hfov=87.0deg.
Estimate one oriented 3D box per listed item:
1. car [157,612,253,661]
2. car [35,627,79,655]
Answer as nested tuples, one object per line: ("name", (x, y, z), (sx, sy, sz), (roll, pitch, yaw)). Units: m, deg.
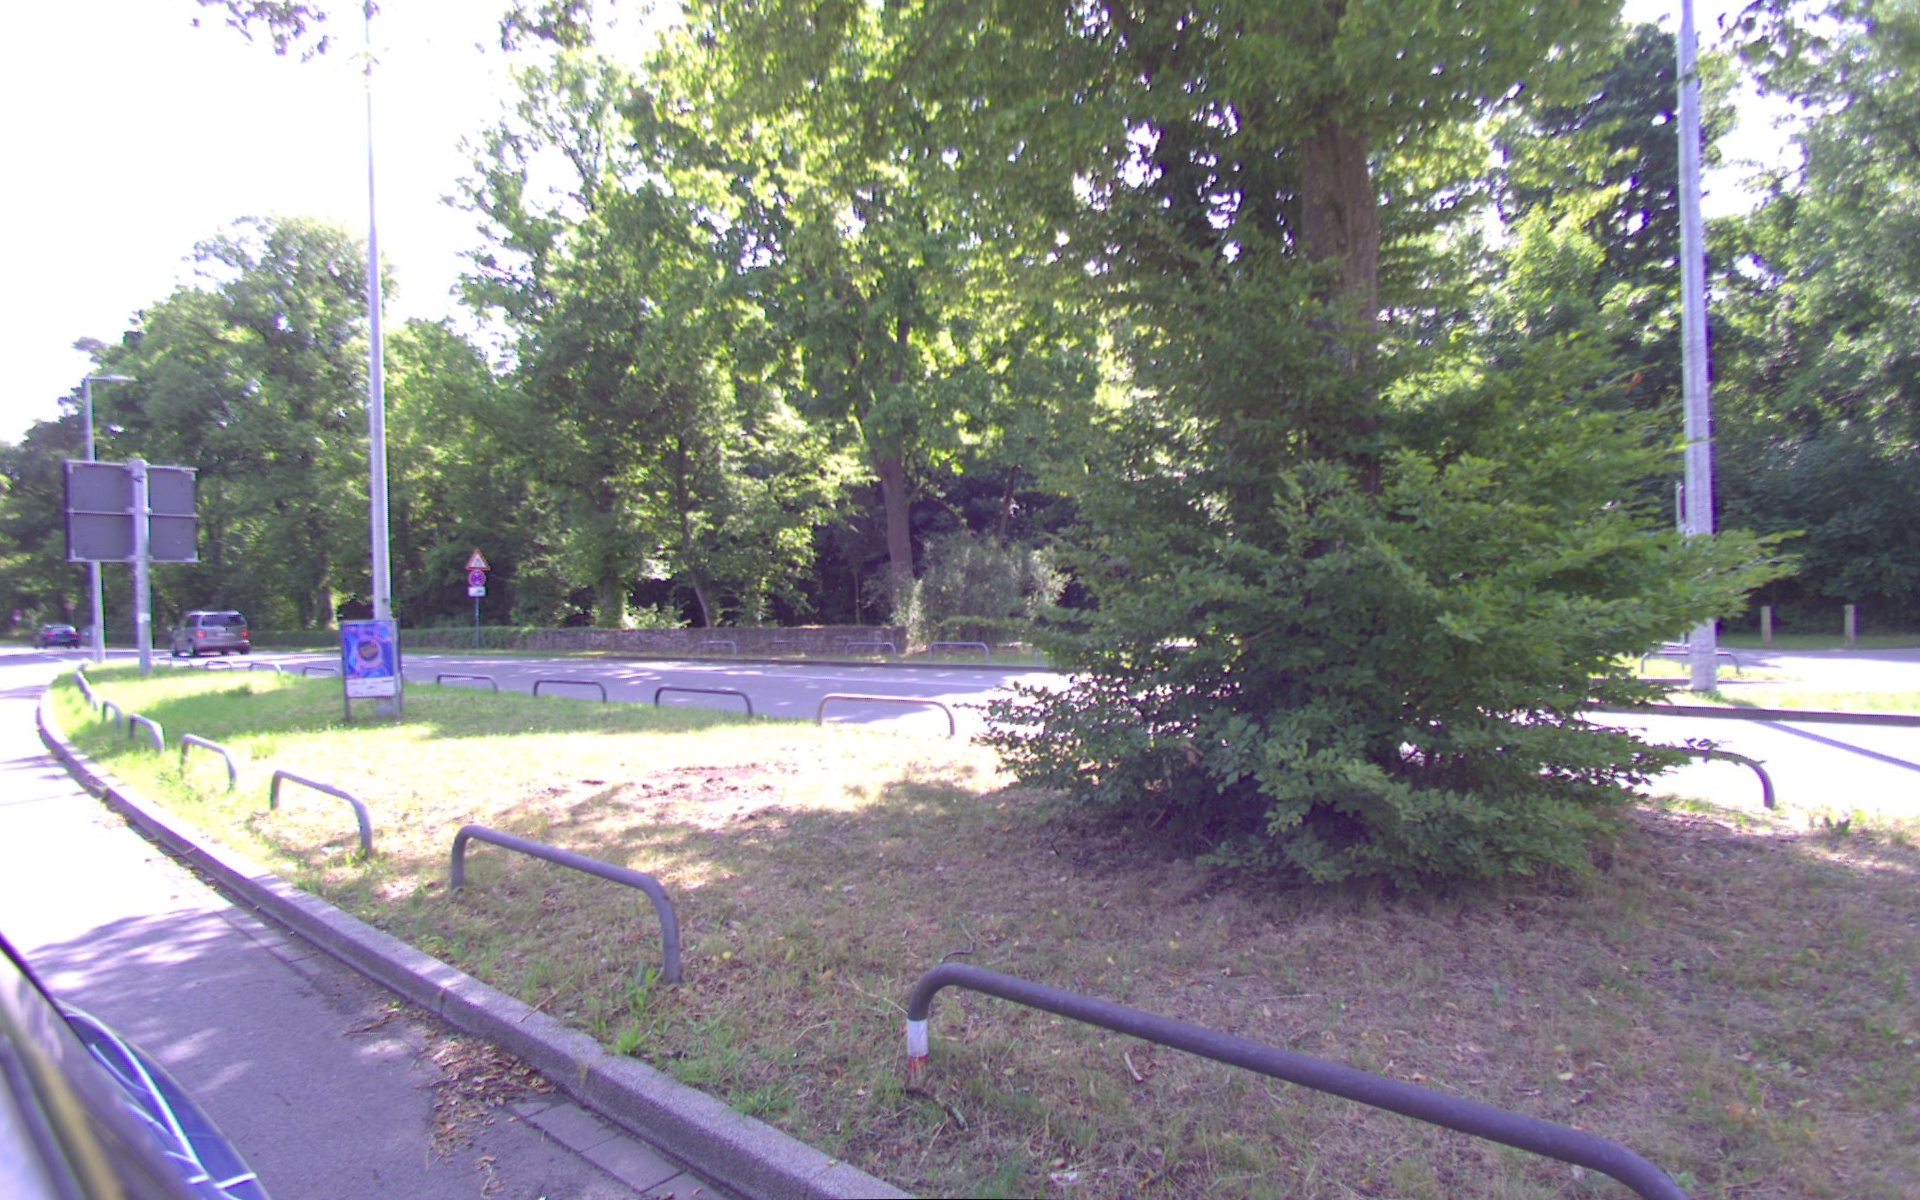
("car", (-28.239, 1.354, 37.811), (4.293, 1.642, 1.745), (-2, 1, 38))
("car", (-55.124, 2.478, 61.753), (4.068, 1.457, 1.676), (0, 2, 44))
